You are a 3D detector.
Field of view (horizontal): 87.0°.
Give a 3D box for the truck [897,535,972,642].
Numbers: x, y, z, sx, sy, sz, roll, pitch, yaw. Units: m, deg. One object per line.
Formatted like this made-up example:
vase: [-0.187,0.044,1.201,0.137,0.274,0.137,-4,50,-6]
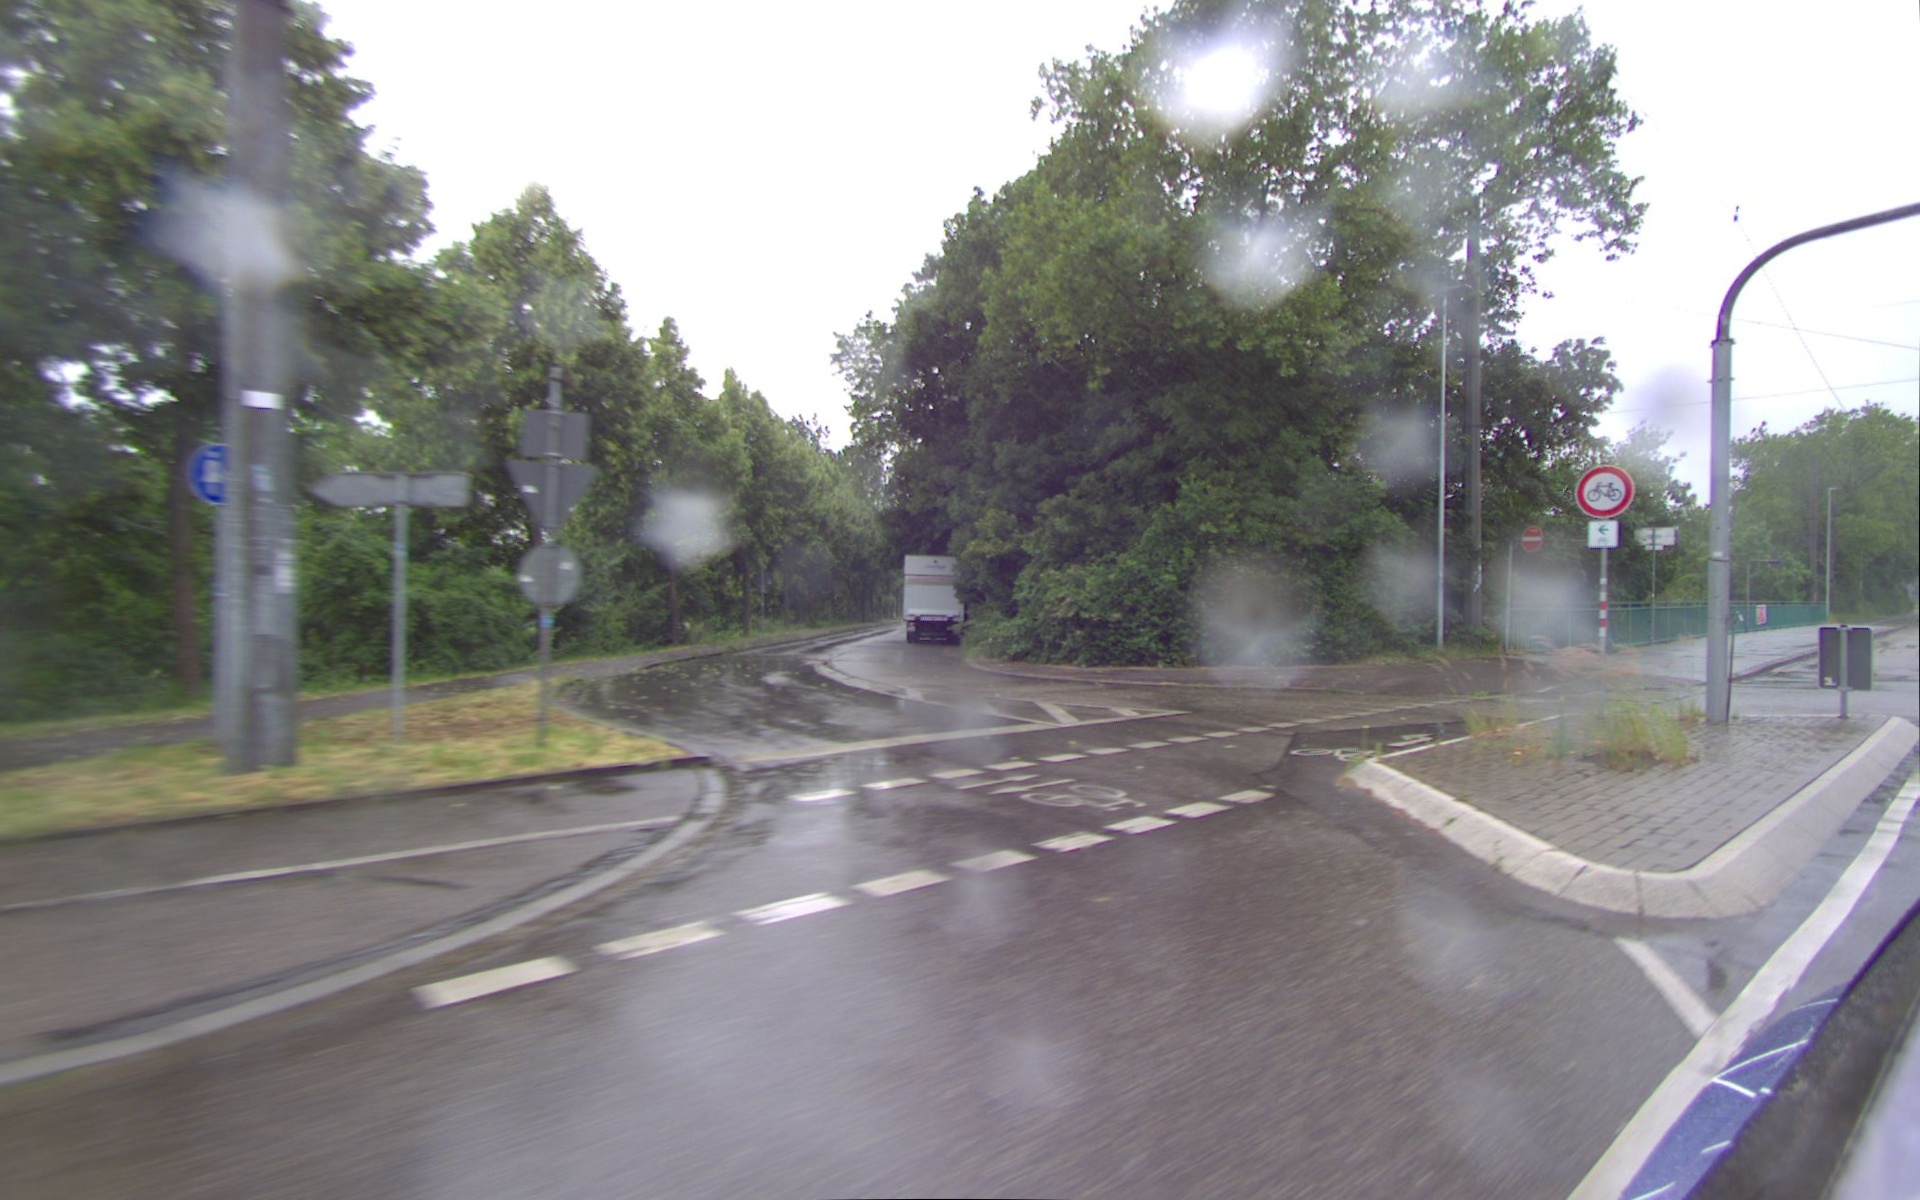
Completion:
truck: [-1.055,-0.439,45.441,2.959,4.287,8.372,-1,0,0]
